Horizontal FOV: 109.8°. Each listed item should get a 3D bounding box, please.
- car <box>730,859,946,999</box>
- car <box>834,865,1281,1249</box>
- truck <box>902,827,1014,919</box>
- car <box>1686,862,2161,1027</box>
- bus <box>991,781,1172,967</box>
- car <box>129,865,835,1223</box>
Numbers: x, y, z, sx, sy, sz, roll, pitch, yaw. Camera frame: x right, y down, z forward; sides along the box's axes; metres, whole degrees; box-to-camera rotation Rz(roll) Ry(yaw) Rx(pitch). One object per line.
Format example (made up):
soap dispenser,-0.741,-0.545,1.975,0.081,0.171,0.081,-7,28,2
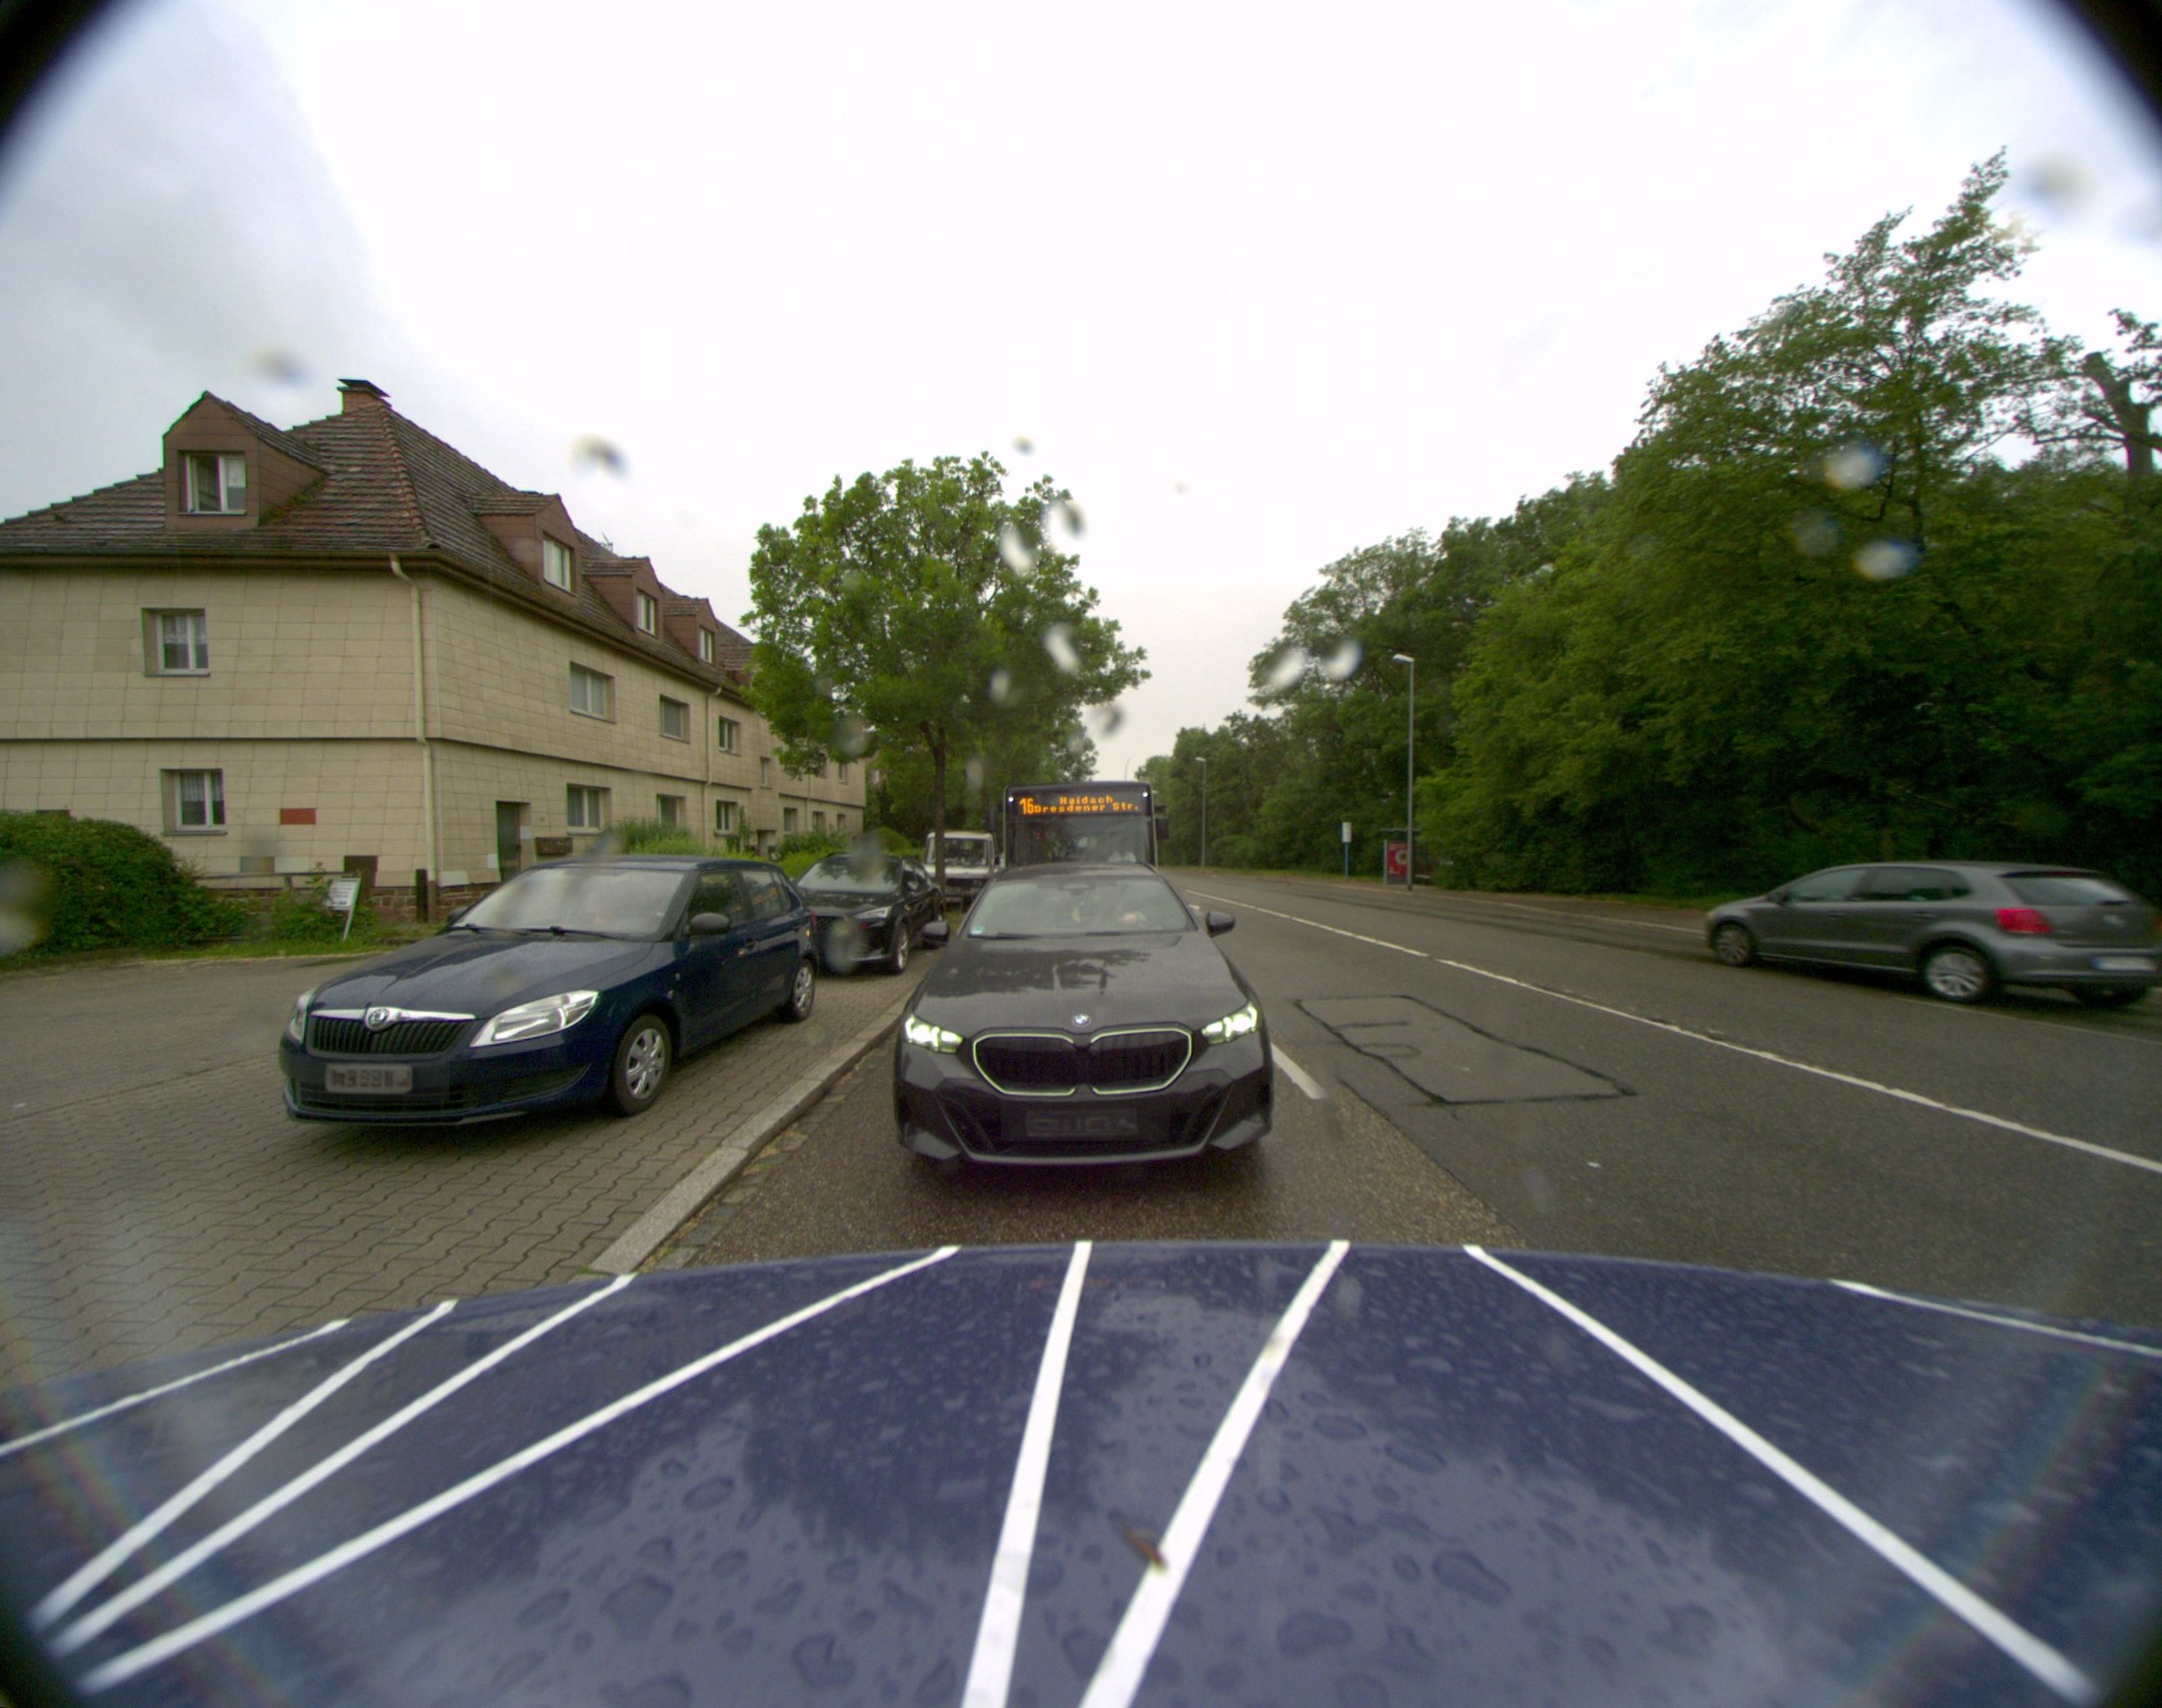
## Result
car,-3.071,0.852,10.491,1.720,1.455,3.999,1,1,-1
car,-0.075,0.926,5.488,1.882,1.520,4.316,-3,0,1
truck,-3.163,0.457,20.846,1.998,2.184,5.756,0,0,2
car,9.364,0.832,8.750,1.598,1.420,3.905,1,0,-1
bus,0.130,0.266,16.765,2.767,2.858,9.403,-2,1,2
car,-3.256,0.859,5.303,1.720,1.416,3.999,1,1,1
